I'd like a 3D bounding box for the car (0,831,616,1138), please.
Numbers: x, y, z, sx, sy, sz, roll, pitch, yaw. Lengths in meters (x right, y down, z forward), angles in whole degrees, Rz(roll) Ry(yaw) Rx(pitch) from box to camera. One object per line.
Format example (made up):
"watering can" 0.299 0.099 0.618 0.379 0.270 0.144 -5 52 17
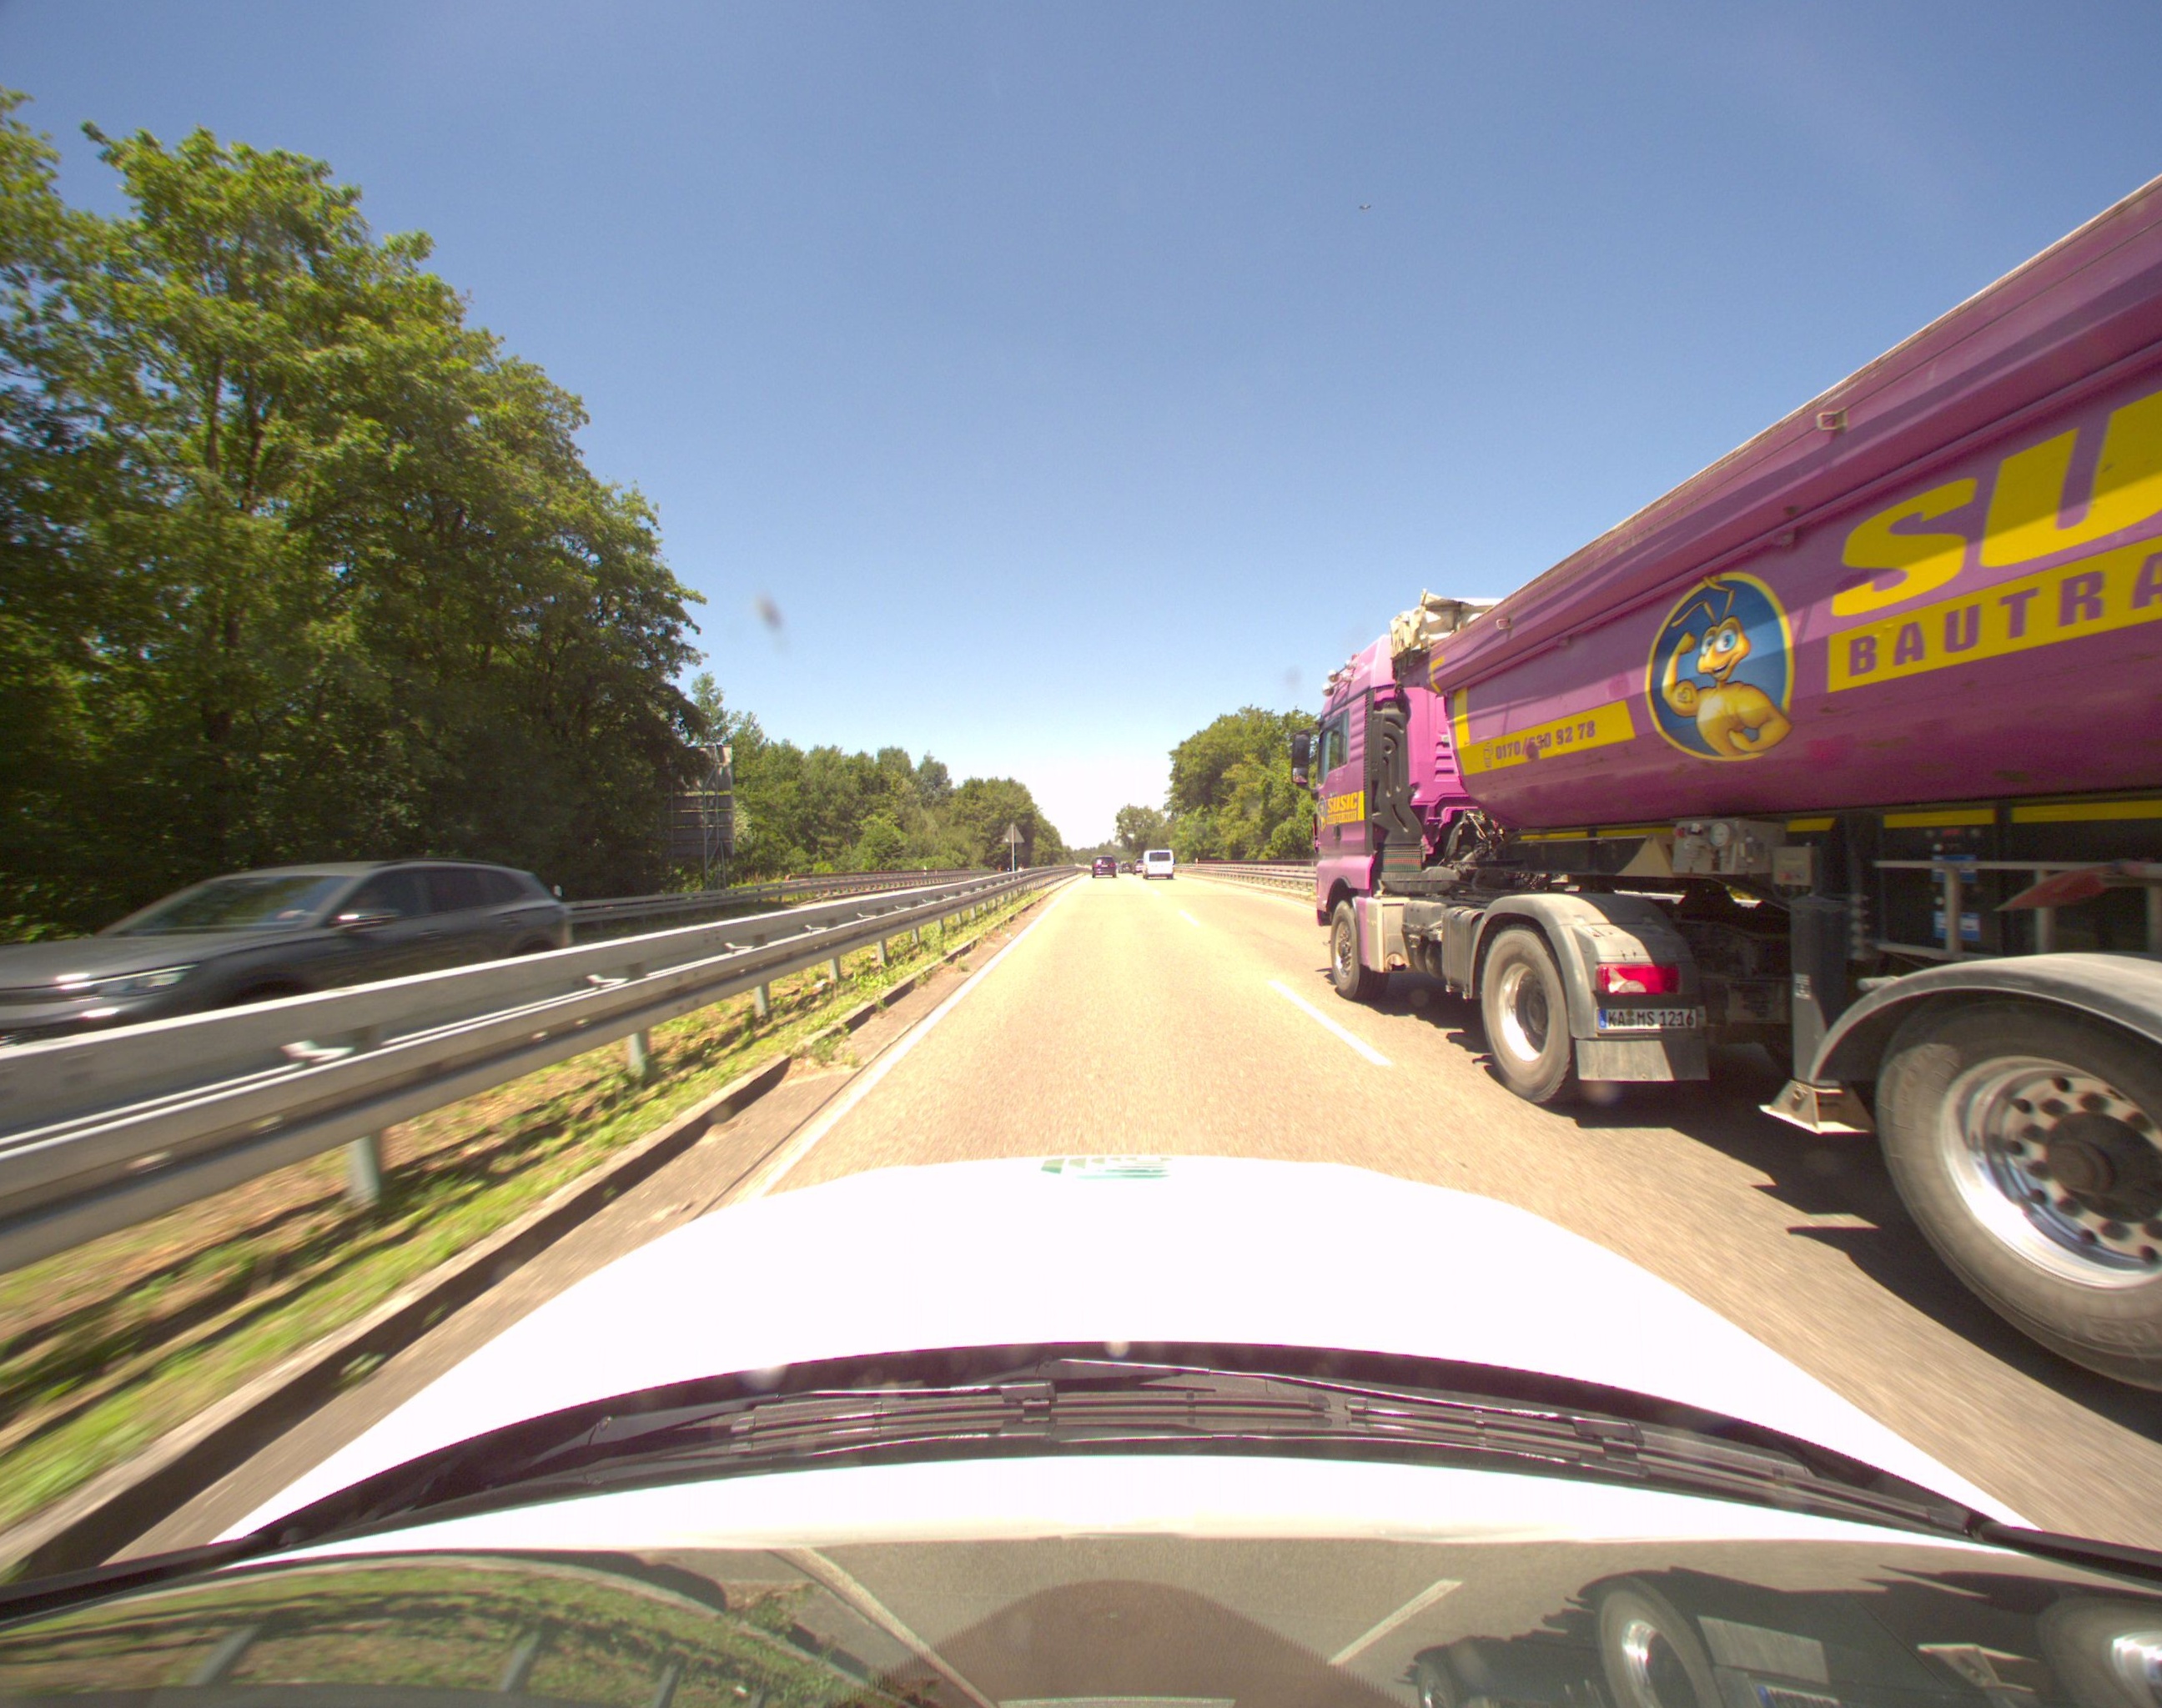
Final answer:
"car" -6.612 0.811 7.243 1.986 1.794 4.750 -3 0 2

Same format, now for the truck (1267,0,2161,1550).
"truck" 3.749 -0.450 4.579 2.711 3.930 12.371 -1 0 1

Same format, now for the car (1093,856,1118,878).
"car" 1.926 1.082 64.790 1.851 1.671 4.000 -1 -2 1

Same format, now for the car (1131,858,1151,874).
"car" 5.700 1.162 77.977 1.598 1.420 3.521 -3 0 -1

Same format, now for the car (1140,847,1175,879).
"car" 5.285 0.633 56.721 1.987 2.077 3.999 -3 0 0

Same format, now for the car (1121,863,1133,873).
"car" 7.338 2.215 130.331 1.598 1.420 3.521 -3 0 -1
